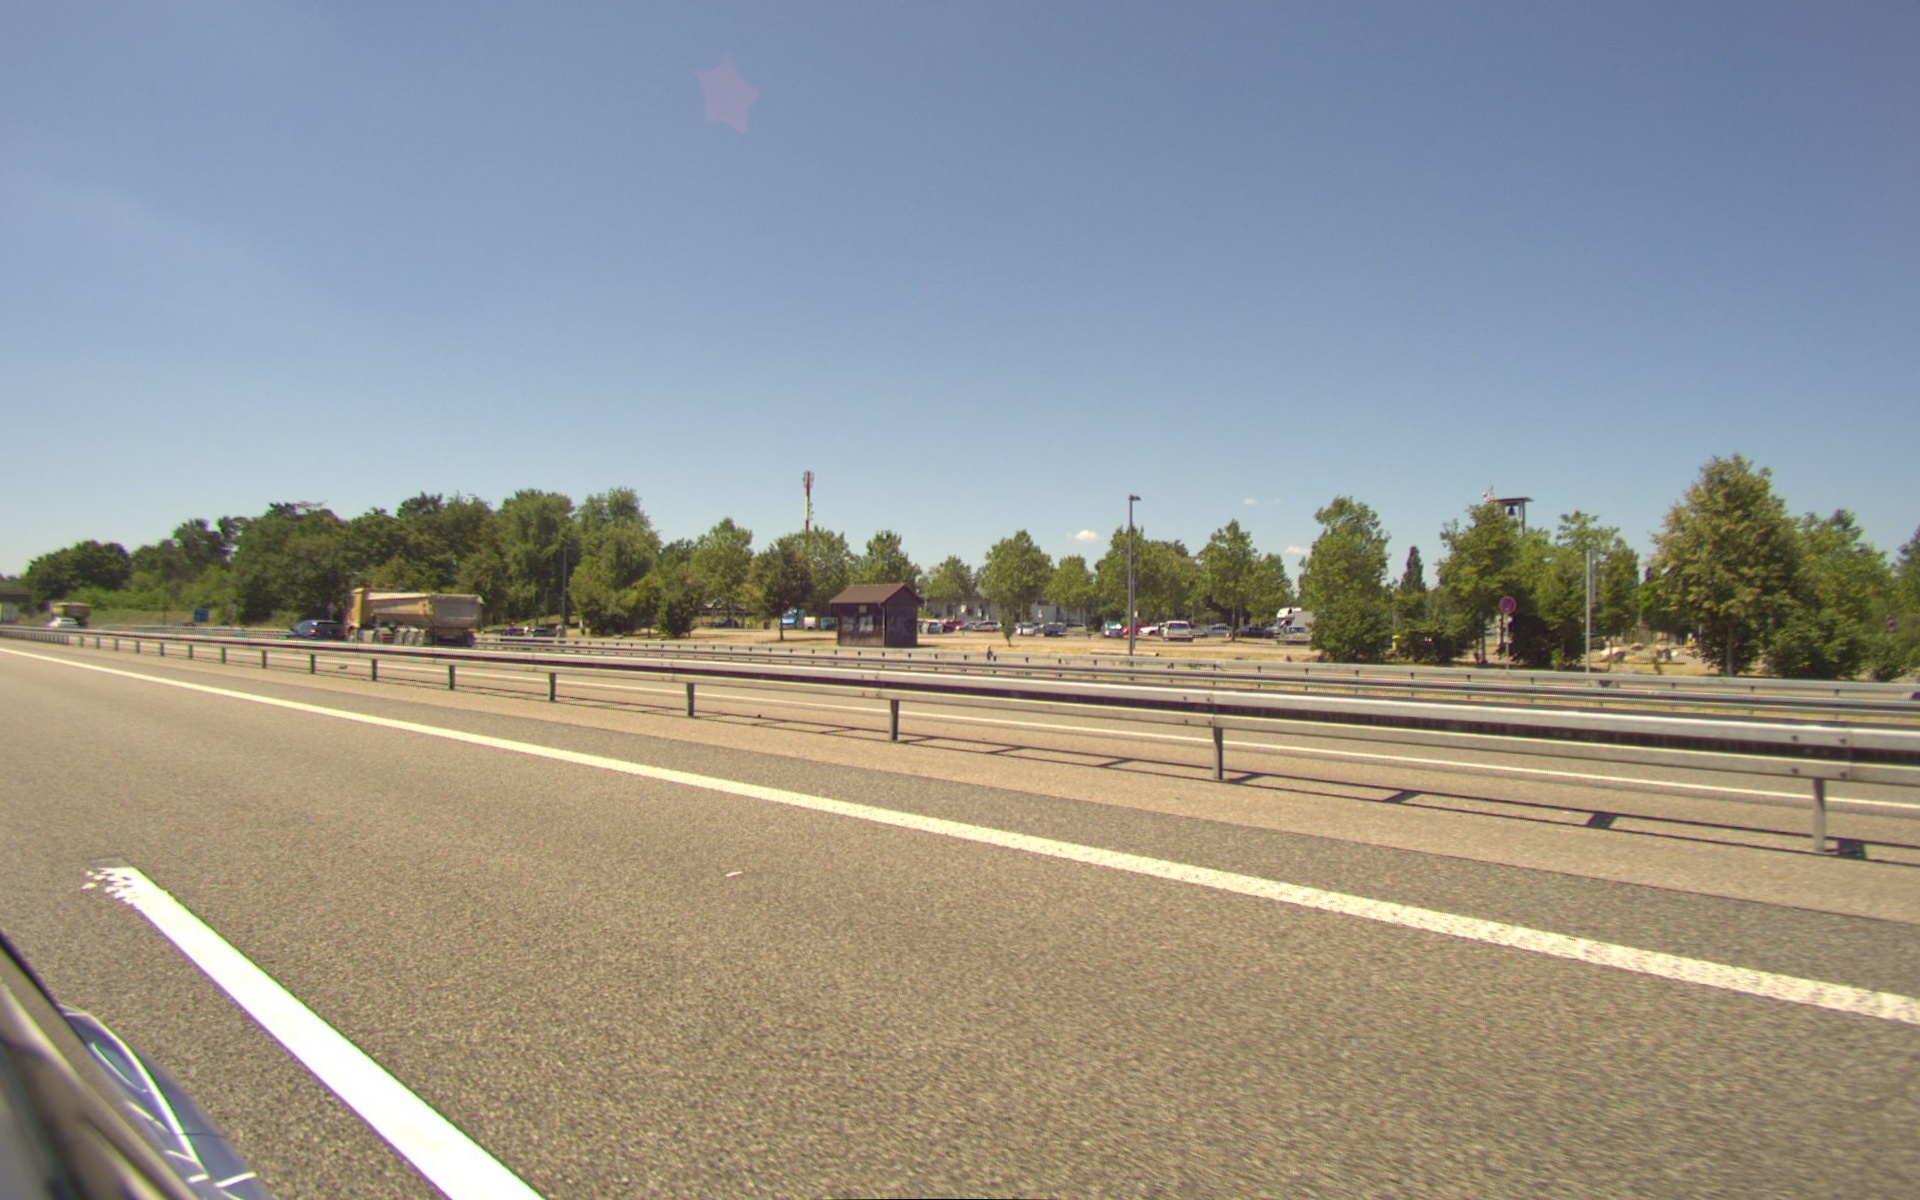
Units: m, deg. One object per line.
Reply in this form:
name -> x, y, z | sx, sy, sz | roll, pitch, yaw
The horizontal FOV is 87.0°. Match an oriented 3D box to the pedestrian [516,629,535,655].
pedestrian -> -26.443, 2.550, 61.628 | 0.757, 1.529, 0.748 | -1, 0, 33

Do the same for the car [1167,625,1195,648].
car -> 17.574, 2.875, 80.449 | 1.676, 1.684, 3.489 | -1, 0, 4

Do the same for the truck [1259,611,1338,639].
truck -> 32.376, 2.399, 96.910 | 6.834, 2.511, 2.140 | -1, 0, 0

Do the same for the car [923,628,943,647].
car -> -2.604, 3.621, 98.089 | 1.542, 1.621, 3.433 | -1, 0, 6

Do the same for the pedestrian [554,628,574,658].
pedestrian -> -22.579, 2.446, 57.719 | 0.873, 1.619, 0.669 | -1, 0, 34

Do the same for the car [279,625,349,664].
car -> -31.798, 2.155, 49.798 | 4.483, 1.727, 1.728 | -1, 0, 41

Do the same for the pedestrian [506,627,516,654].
pedestrian -> -27.522, 2.503, 62.031 | 0.466, 1.619, 0.501 | -1, 0, -35

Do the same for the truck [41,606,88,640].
truck -> -108.029, 2.705, 122.011 | 11.485, 3.842, 2.835 | -1, 0, 41

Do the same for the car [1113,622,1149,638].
car -> 18.253, 3.204, 108.160 | 1.537, 1.544, 3.609 | -1, 0, -42

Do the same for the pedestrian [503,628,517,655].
pedestrian -> -27.295, 2.500, 61.340 | 0.635, 1.619, 0.657 | -1, 0, -37

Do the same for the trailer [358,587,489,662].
trailer -> -27.578, 1.197, 51.763 | 9.366, 3.542, 2.753 | -1, 0, 41

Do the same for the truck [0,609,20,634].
truck -> -175.655, 3.862, 185.747 | 11.328, 4.445, 3.357 | -1, 0, 41

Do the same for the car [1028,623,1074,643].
car -> 7.957, 2.850, 88.278 | 3.680, 1.621, 1.547 | -1, 0, 28

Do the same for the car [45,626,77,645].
car -> -87.728, 3.475, 98.701 | 4.507, 1.726, 1.787 | -1, 0, 41

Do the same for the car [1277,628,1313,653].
car -> 24.425, 2.937, 73.910 | 1.527, 1.684, 3.399 | -1, 0, 2

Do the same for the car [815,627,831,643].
car -> -14.714, 3.738, 108.724 | 1.476, 1.621, 3.114 | -1, 0, -2

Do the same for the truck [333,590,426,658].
truck -> -31.847, 1.252, 55.474 | 5.643, 3.542, 2.753 | -1, 0, 41
